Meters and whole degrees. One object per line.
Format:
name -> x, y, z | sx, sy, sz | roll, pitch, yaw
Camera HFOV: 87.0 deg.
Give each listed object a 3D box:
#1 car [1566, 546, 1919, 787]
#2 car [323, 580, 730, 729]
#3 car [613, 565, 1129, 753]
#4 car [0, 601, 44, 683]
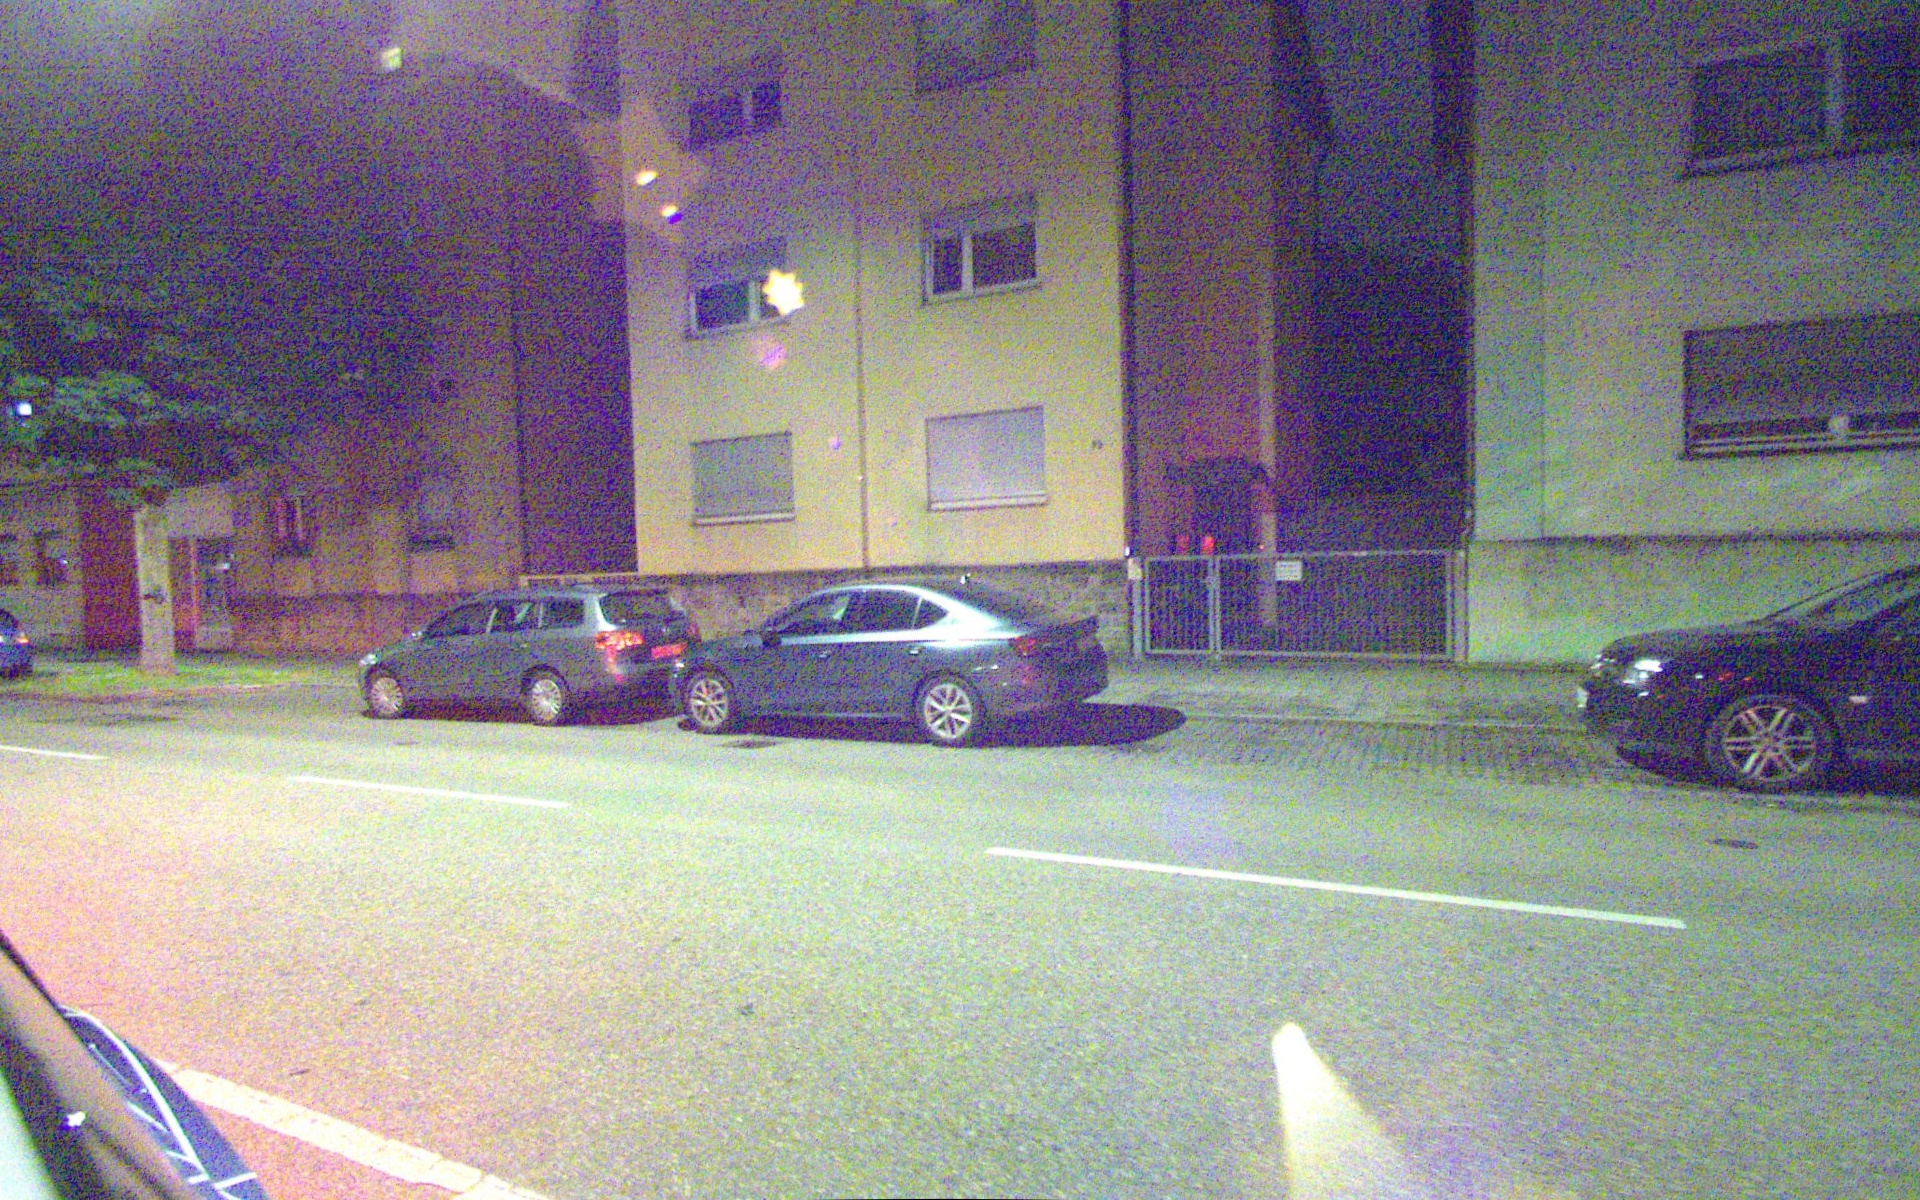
car -> 6.485, 0.357, 6.320 | 4.424, 1.393, 1.615 | -1, 1, 24
car -> -5.226, 0.575, 12.093 | 4.740, 1.497, 1.759 | -1, 1, 25
car -> -0.943, 0.489, 9.932 | 4.837, 1.497, 1.758 | -1, 1, 26
car -> -19.799, 0.851, 19.592 | 3.969, 1.505, 1.705 | -1, 2, 26
